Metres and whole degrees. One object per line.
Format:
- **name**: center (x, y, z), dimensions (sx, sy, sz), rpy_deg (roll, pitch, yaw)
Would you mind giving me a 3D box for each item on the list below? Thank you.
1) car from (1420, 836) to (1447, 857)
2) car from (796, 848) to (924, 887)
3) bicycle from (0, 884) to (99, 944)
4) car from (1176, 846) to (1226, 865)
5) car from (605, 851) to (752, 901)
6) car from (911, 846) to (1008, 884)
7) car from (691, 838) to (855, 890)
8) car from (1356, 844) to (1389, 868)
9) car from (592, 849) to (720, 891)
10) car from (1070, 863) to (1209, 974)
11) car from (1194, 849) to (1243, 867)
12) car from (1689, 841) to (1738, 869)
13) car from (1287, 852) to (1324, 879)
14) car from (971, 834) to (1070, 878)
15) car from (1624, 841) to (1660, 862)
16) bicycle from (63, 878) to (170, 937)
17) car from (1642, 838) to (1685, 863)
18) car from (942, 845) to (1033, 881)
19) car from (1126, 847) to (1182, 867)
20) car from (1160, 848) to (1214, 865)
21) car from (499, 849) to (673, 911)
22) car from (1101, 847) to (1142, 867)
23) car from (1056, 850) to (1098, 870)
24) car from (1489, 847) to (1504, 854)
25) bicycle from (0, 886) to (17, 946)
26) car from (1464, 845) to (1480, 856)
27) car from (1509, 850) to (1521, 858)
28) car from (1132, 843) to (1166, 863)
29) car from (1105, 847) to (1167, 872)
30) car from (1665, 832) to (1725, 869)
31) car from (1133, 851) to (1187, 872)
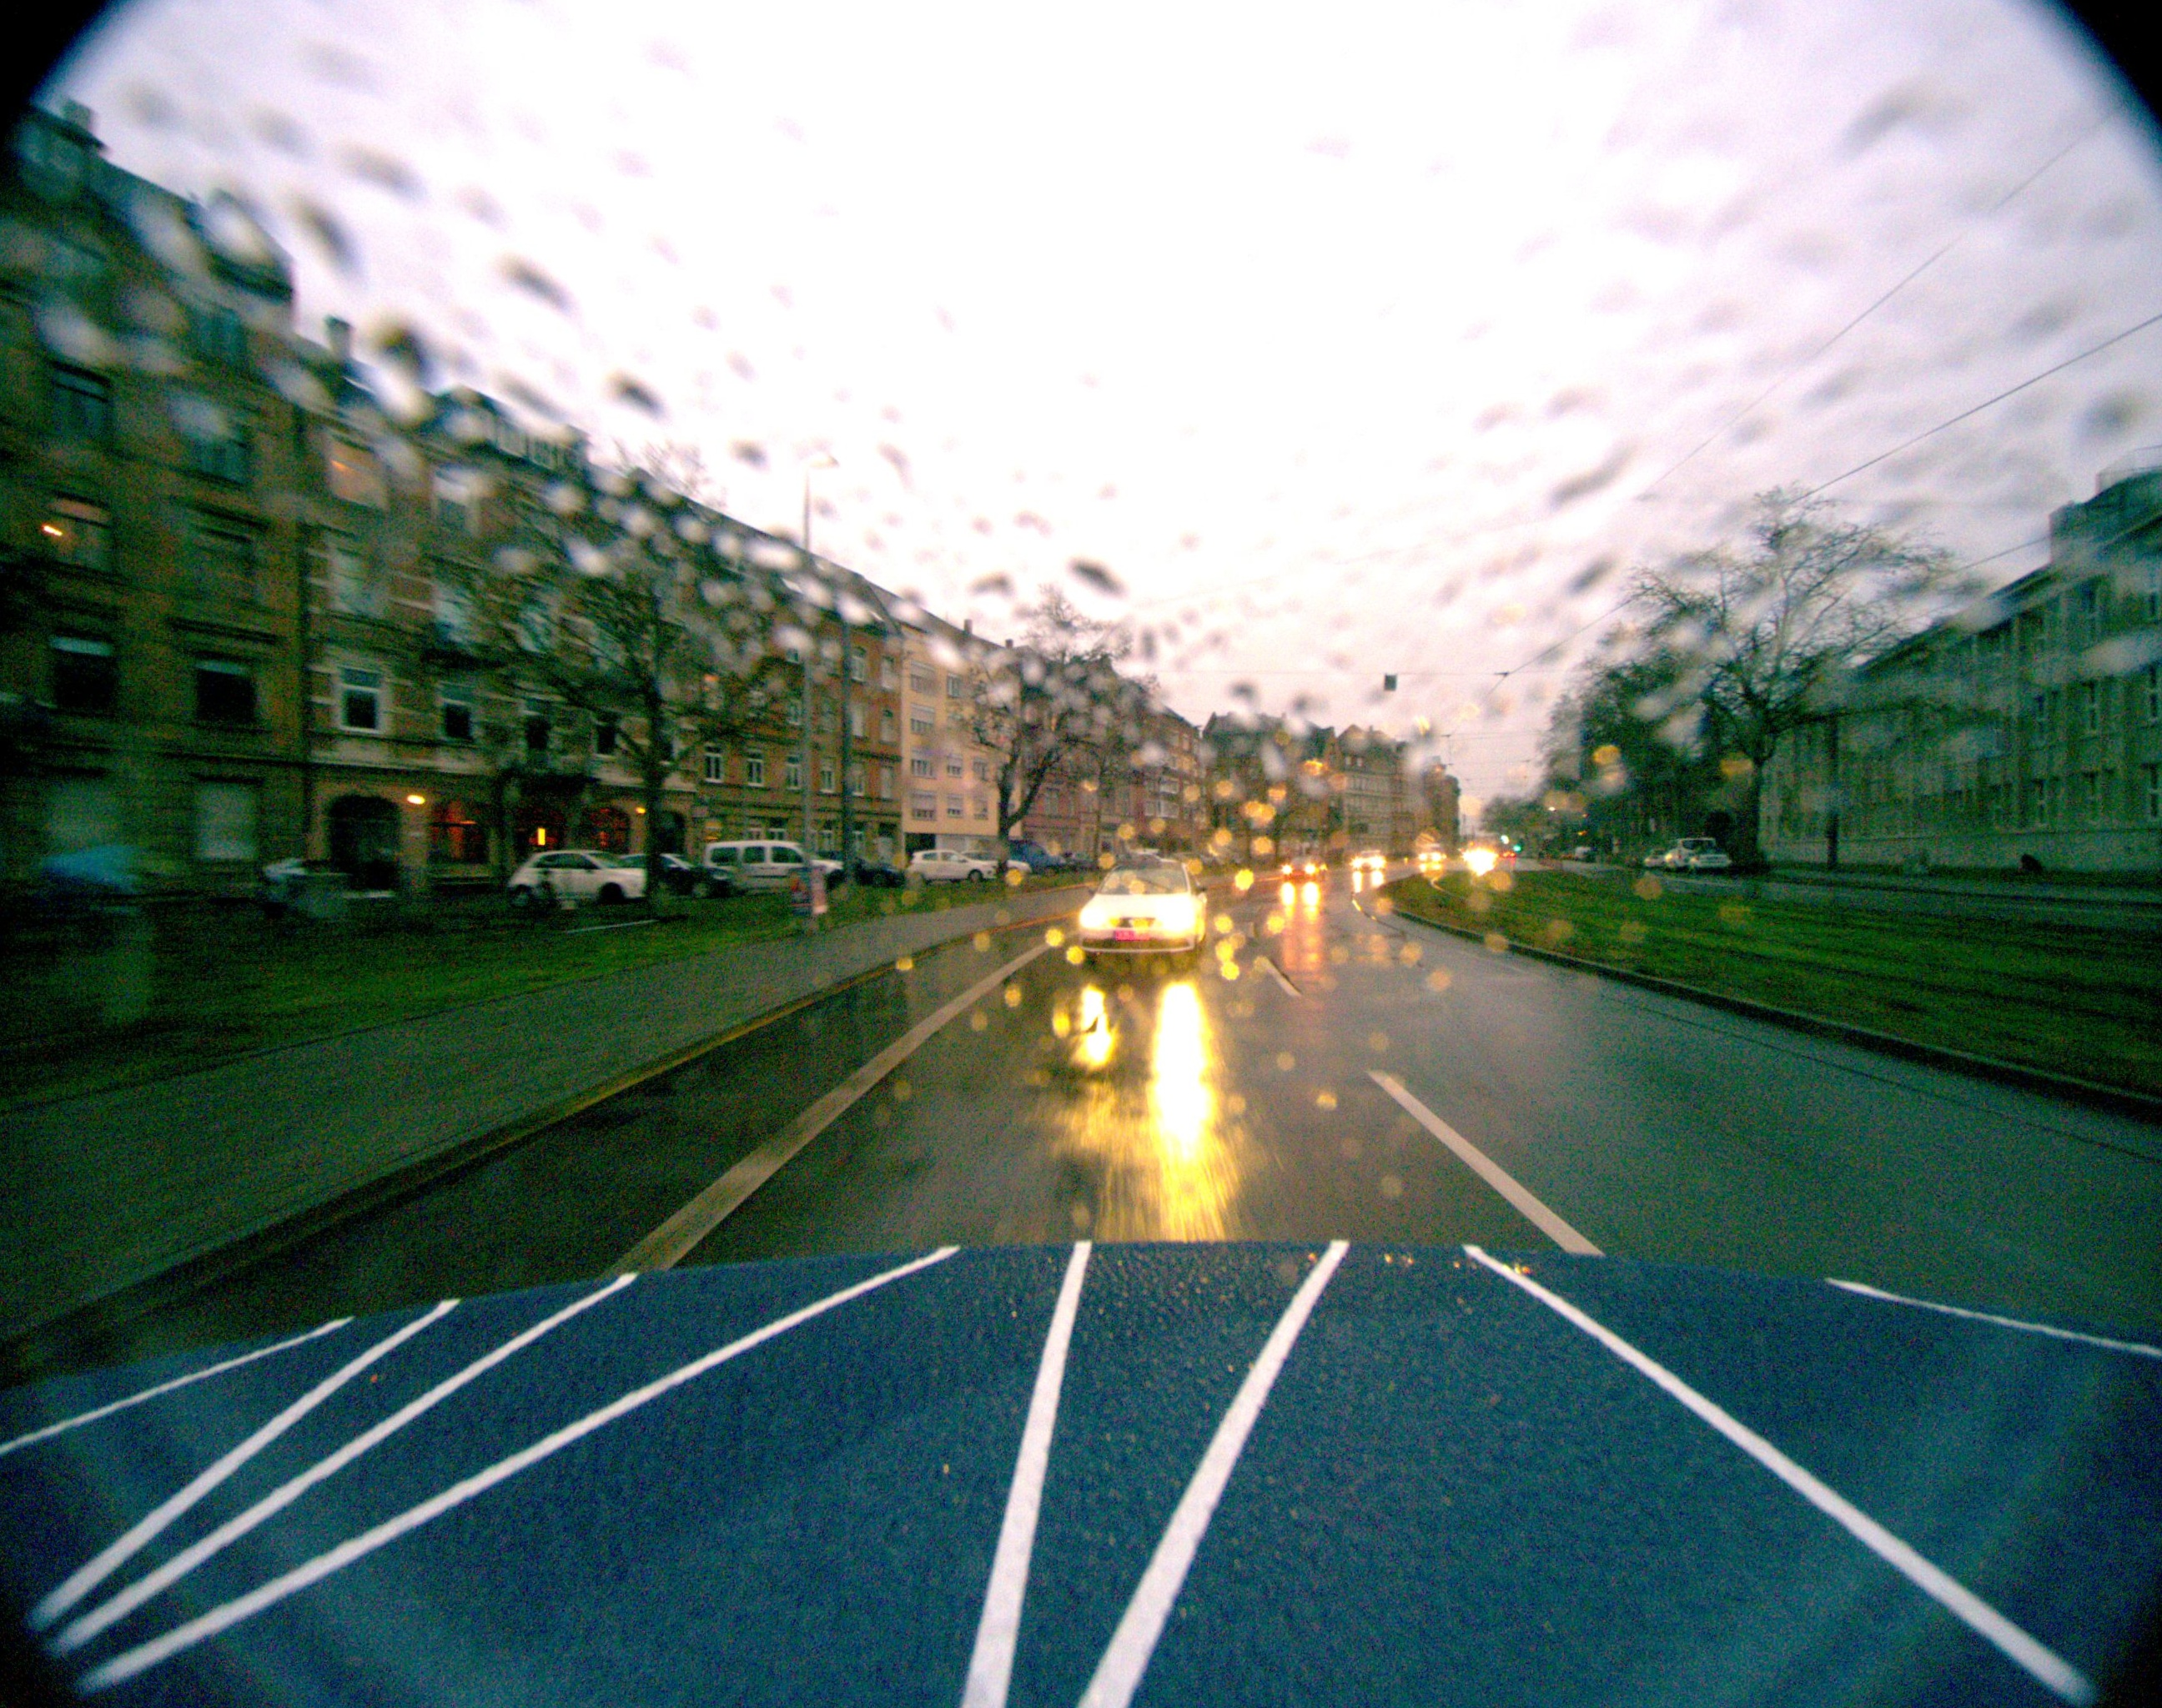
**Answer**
- **car**: center (42.735, -0.985, 92.024), dimensions (2.125, 2.366, 5.649), rpy_deg (-2, 0, 33)
- **car**: center (-7.908, 0.486, 27.417), dimensions (4.060, 1.227, 1.770), rpy_deg (2, 0, 0)
- **bicycle**: center (-17.889, 1.018, 13.083), dimensions (2.166, 0.960, 0.627), rpy_deg (-2, -2, 22)
- **car**: center (9.445, 0.127, 59.802), dimensions (3.762, 1.346, 1.602), rpy_deg (-2, 0, 5)
- **car**: center (-11.845, 0.619, 22.513), dimensions (3.432, 1.343, 1.663), rpy_deg (-1, 0, -4)
- **car**: center (-5.190, 0.443, 32.778), dimensions (3.771, 1.424, 1.762), rpy_deg (-3, 0, 3)
- **car**: center (-10.025, 0.308, 24.999), dimensions (4.661, 1.583, 1.777), rpy_deg (1, 1, -2)
- **car**: center (22.217, 0.162, 57.869), dimensions (1.671, 1.650, 4.155), rpy_deg (-3, 0, 30)
- **car**: center (-16.589, 0.585, 29.868), dimensions (1.733, 1.492, 4.058), rpy_deg (-3, 0, 26)
- **car**: center (1.102, 0.937, 12.415), dimensions (1.713, 1.405, 3.682), rpy_deg (-3, 0, 12)
- **car**: center (11.236, 0.327, 62.218), dimensions (3.762, 1.346, 1.602), rpy_deg (-2, 0, 5)
- **car**: center (34.484, 0.041, 41.494), dimensions (1.557, 1.420, 2.960), rpy_deg (0, 1, 30)
- **car**: center (12.223, 0.602, 41.325), dimensions (1.587, 1.418, 3.139), rpy_deg (0, 0, 23)
- **car**: center (-3.030, 0.093, 37.812), dimensions (4.722, 1.971, 1.798), rpy_deg (-2, 0, -8)
- **car**: center (44.436, -0.192, 60.293), dimensions (1.612, 1.650, 3.617), rpy_deg (0, 1, 25)
- **bicycle**: center (-17.584, 0.943, 13.846), dimensions (2.165, 0.960, 0.627), rpy_deg (0, 1, 22)
- **car**: center (41.687, -0.282, 54.487), dimensions (1.823, 1.645, 3.866), rpy_deg (-3, 0, 29)
- **car**: center (-4.316, 0.414, 35.084), dimensions (3.999, 1.407, 1.640), rpy_deg (-3, 0, -8)
- **car**: center (5.021, 0.193, 52.461), dimensions (3.762, 1.325, 1.602), rpy_deg (0, 1, 5)
- **car**: center (7.805, 0.173, 56.208), dimensions (3.764, 1.271, 1.601), rpy_deg (0, 0, -1)
- **car**: center (-12.887, 0.658, 19.915), dimensions (3.464, 1.435, 1.614), rpy_deg (-2, 0, 1)
- **car**: center (3.531, 0.262, 65.631), dimensions (1.690, 1.534, 4.007), rpy_deg (-2, 1, 32)
- **car**: center (-0.255, 0.429, 59.824), dimensions (1.470, 1.534, 3.879), rpy_deg (0, 1, 32)
- **car**: center (82.068, -0.769, 150.182), dimensions (1.892, 1.405, 3.955), rpy_deg (0, 1, 39)
- **bicycle**: center (-18.279, 1.013, 12.367), dimensions (2.166, 0.960, 0.627), rpy_deg (-2, -2, 22)
- **car**: center (63.090, -0.580, 122.618), dimensions (1.646, 1.740, 3.562), rpy_deg (0, 1, 37)
- **car**: center (102.696, 0.019, 179.813), dimensions (1.948, 1.805, 4.008), rpy_deg (0, 1, 37)
- **car**: center (6.352, -0.083, 70.681), dimensions (1.670, 1.693, 3.472), rpy_deg (-3, 0, 34)
- **car**: center (3.561, 0.346, 49.839), dimensions (3.871, 1.398, 1.695), rpy_deg (-3, 0, 1)
- **car**: center (36.717, -0.253, 45.571), dimensions (1.995, 2.002, 4.517), rpy_deg (-3, 0, 29)
- **car**: center (5.664, 0.516, 54.491), dimensions (3.762, 1.324, 1.602), rpy_deg (-2, 0, 5)
